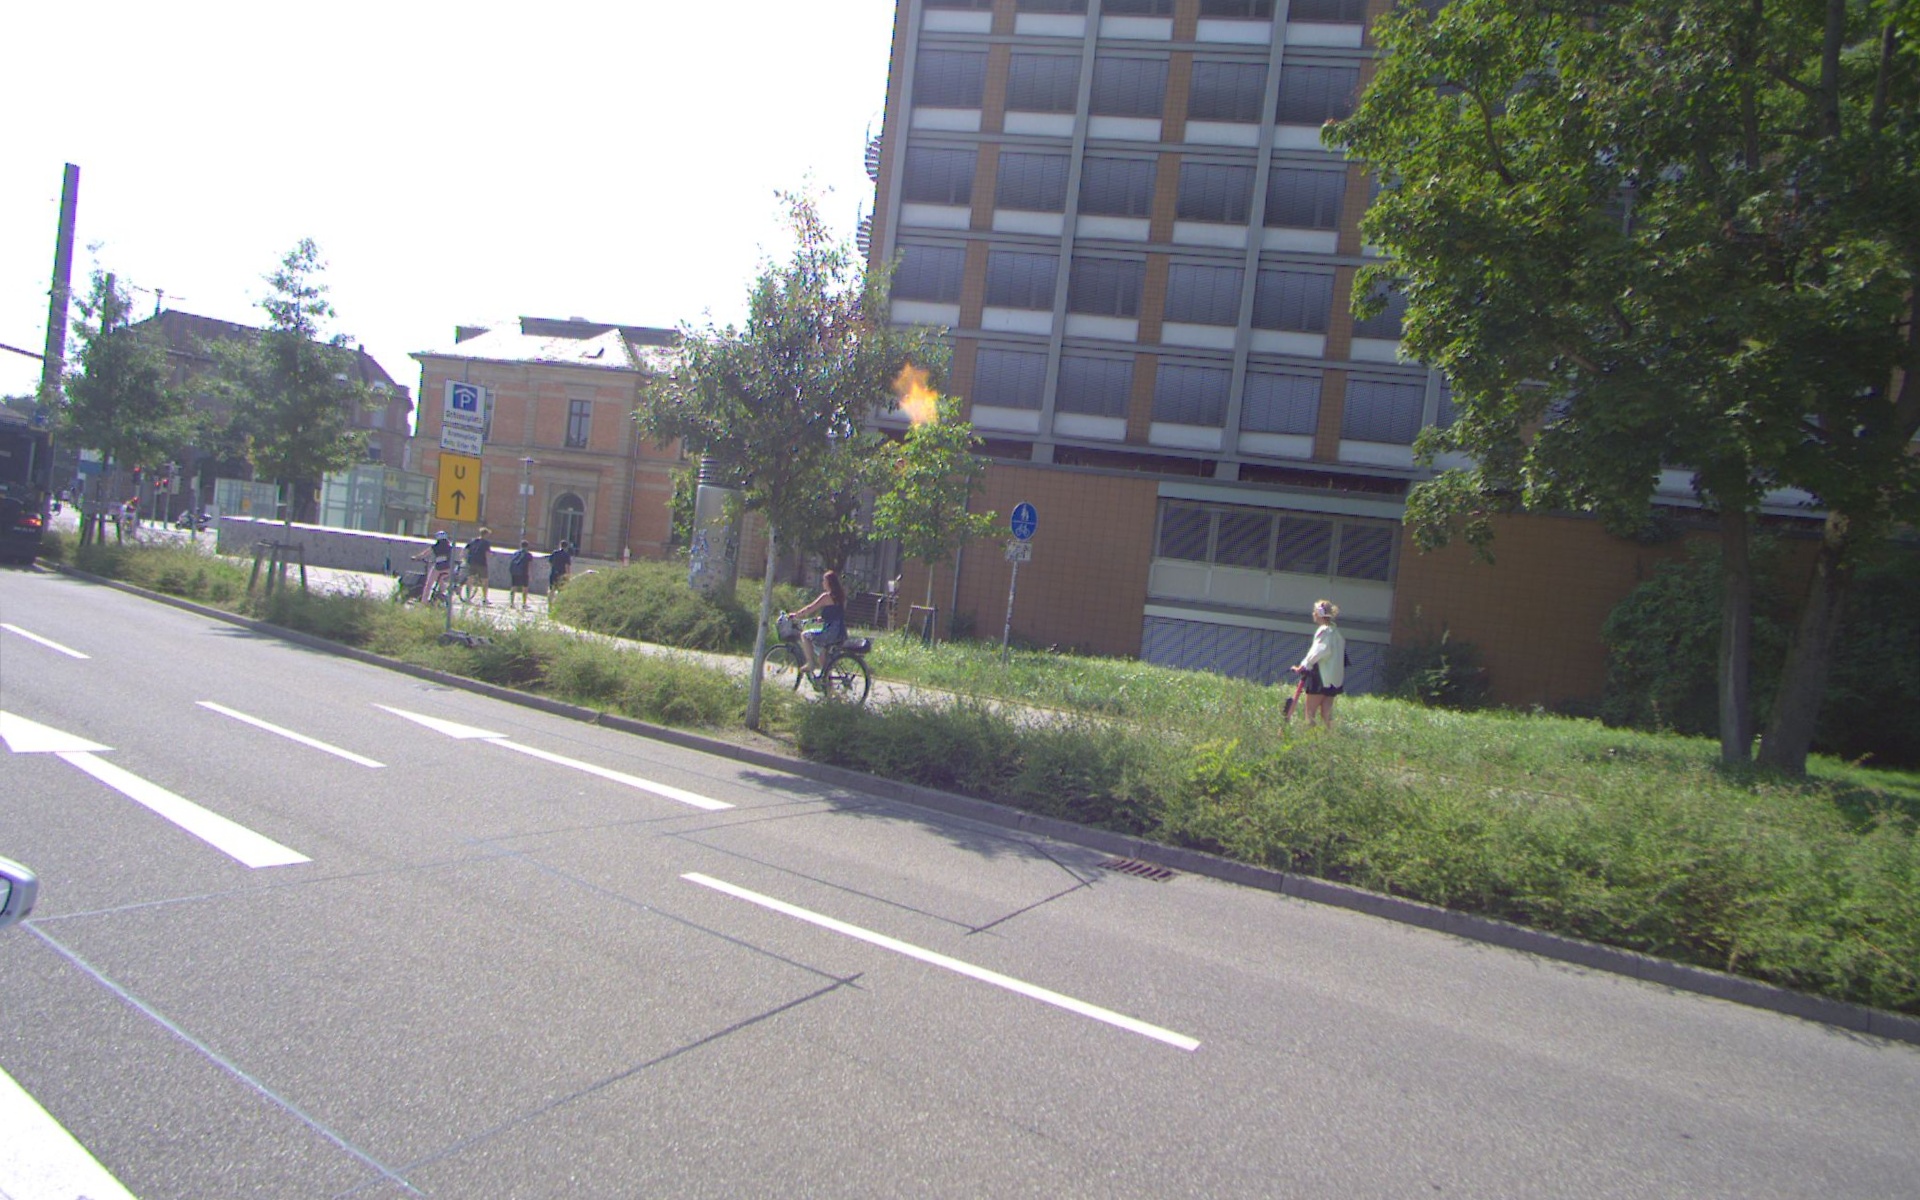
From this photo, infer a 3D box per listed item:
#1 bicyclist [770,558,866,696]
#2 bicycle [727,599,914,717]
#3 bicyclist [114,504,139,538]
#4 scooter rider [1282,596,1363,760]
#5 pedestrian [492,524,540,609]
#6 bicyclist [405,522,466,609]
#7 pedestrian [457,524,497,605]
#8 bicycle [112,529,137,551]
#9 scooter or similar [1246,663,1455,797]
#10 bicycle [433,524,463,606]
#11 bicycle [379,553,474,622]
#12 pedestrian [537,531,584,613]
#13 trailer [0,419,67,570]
[{"bbox_3d":[-1.789,0.324,12.733,0.829,1.620,0.690,7,3,29],"label":"bicyclist"},{"bbox_3d":[-1.797,0.697,12.739,2.331,1.170,0.694,7,3,30],"label":"bicycle"},{"bbox_3d":[-34.953,-3.317,42.176,0.672,1.337,0.675,5,1,-43],"label":"bicyclist"},{"bbox_3d":[4.050,0.847,11.215,0.530,1.723,0.670,8,4,31],"label":"scooter rider"},{"bbox_3d":[-11.043,-0.833,25.010,0.774,1.998,0.746,6,1,-38],"label":"pedestrian"},{"bbox_3d":[-9.767,-0.639,18.730,0.790,1.515,0.549,7,1,31],"label":"bicyclist"},{"bbox_3d":[-11.856,-0.870,24.668,0.655,1.884,0.787,6,2,-30],"label":"pedestrian"},{"bbox_3d":[-35.079,-2.535,42.239,0.672,0.786,2.102,6,1,-43],"label":"bicycle"},{"bbox_3d":[4.274,1.388,11.097,1.970,1.074,0.556,8,4,31],"label":"scooter or similar"},{"bbox_3d":[-12.457,-0.866,24.453,0.451,1.884,1.353,6,1,-29],"label":"bicycle"},{"bbox_3d":[-10.023,-0.238,18.869,1.970,1.073,0.557,7,1,31],"label":"bicycle"},{"bbox_3d":[-10.247,-0.725,25.825,0.774,1.998,0.746,6,1,-38],"label":"pedestrian"},{"bbox_3d":[-22.719,-2.579,22.859,6.233,3.043,2.462,7,-1,39],"label":"trailer"}]
